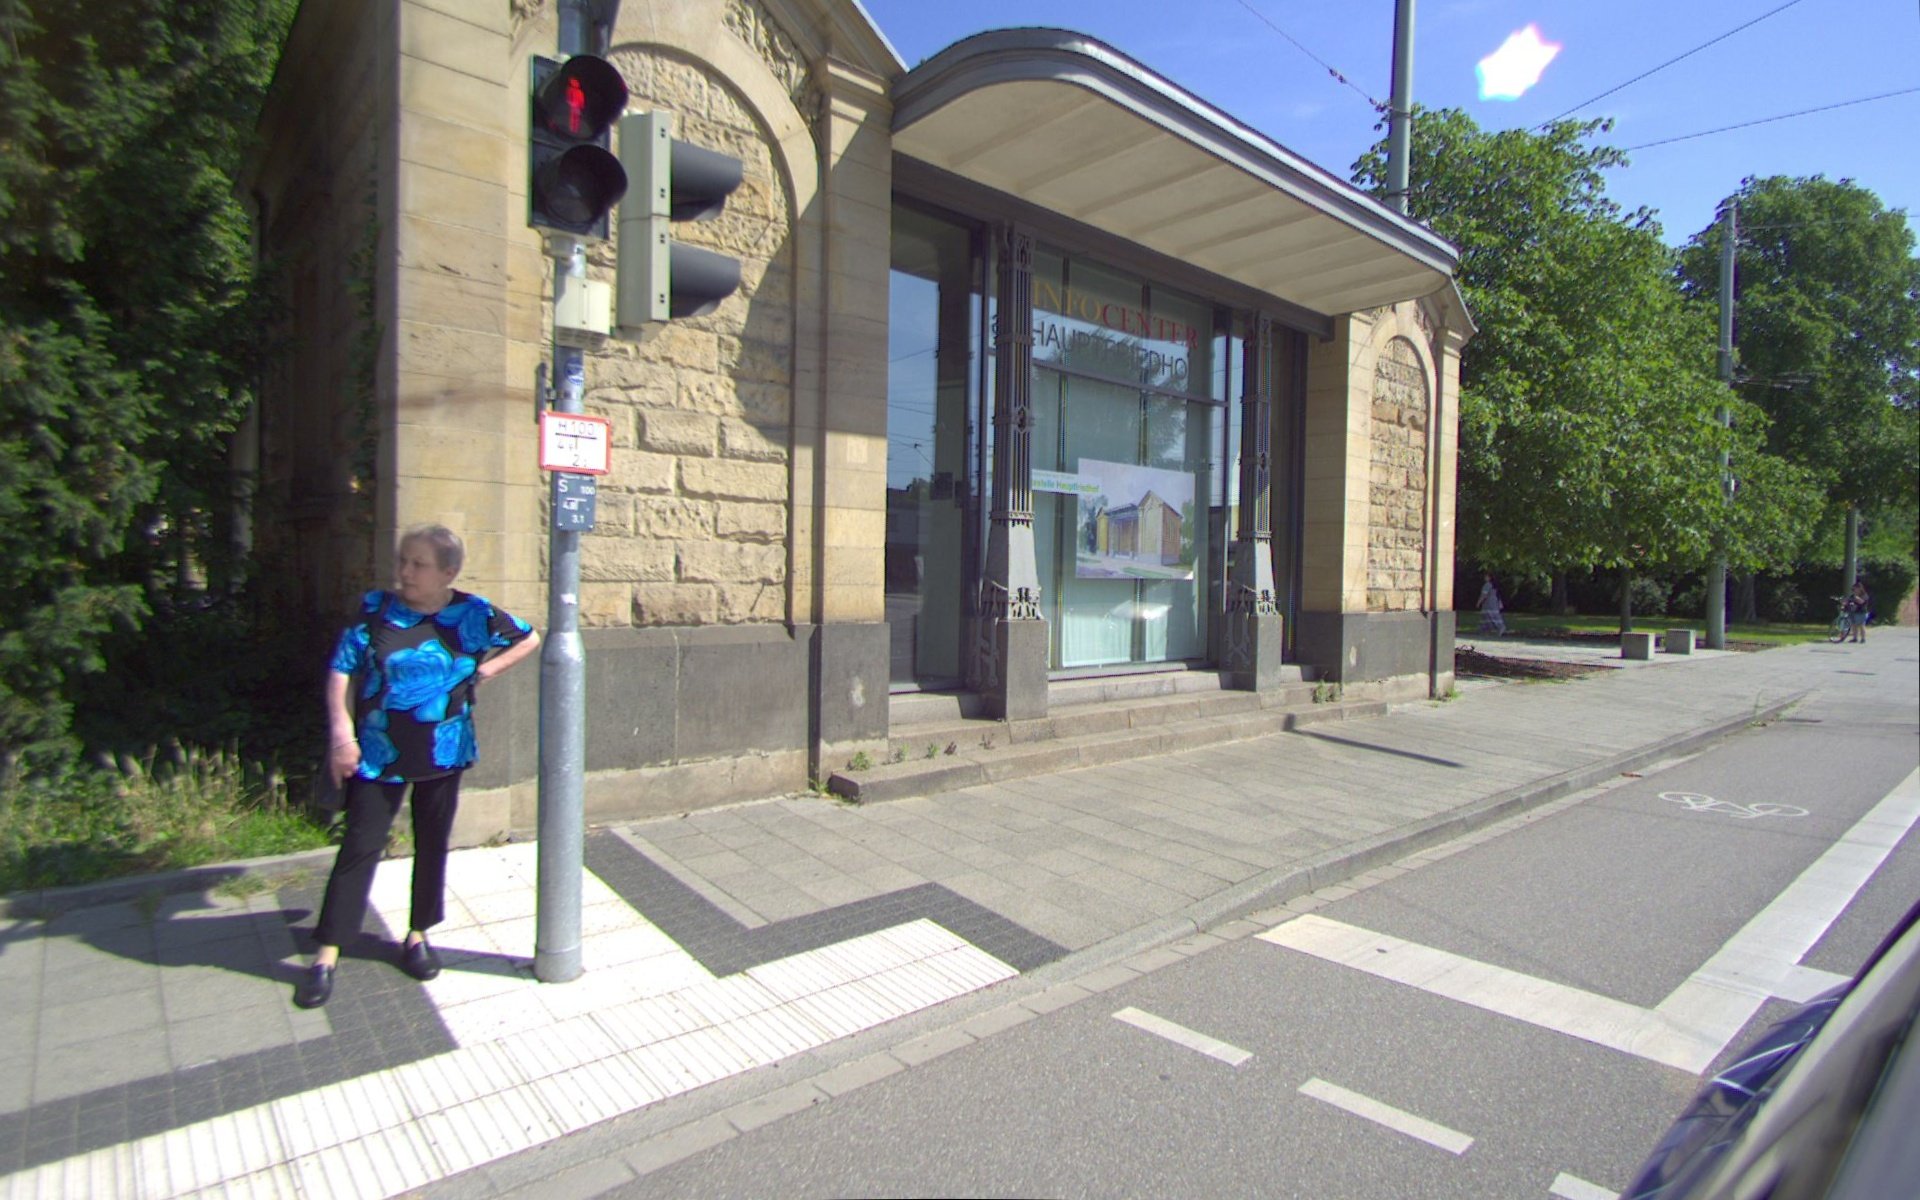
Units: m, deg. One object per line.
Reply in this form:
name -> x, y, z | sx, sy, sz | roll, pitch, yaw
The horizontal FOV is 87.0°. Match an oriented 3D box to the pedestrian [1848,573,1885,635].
pedestrian -> 23.602, 0.101, 26.350 | 0.652, 1.567, 0.541 | 0, 4, -42

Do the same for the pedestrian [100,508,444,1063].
pedestrian -> -2.219, 0.497, 3.336 | 0.842, 1.528, 0.782 | 0, 2, -33

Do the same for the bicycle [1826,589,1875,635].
bicycle -> 23.375, 0.300, 26.550 | 1.773, 1.125, 0.538 | -1, 3, -36

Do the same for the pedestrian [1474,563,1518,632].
pedestrian -> 13.433, -0.069, 25.376 | 0.640, 1.703, 0.708 | 0, 2, -35
